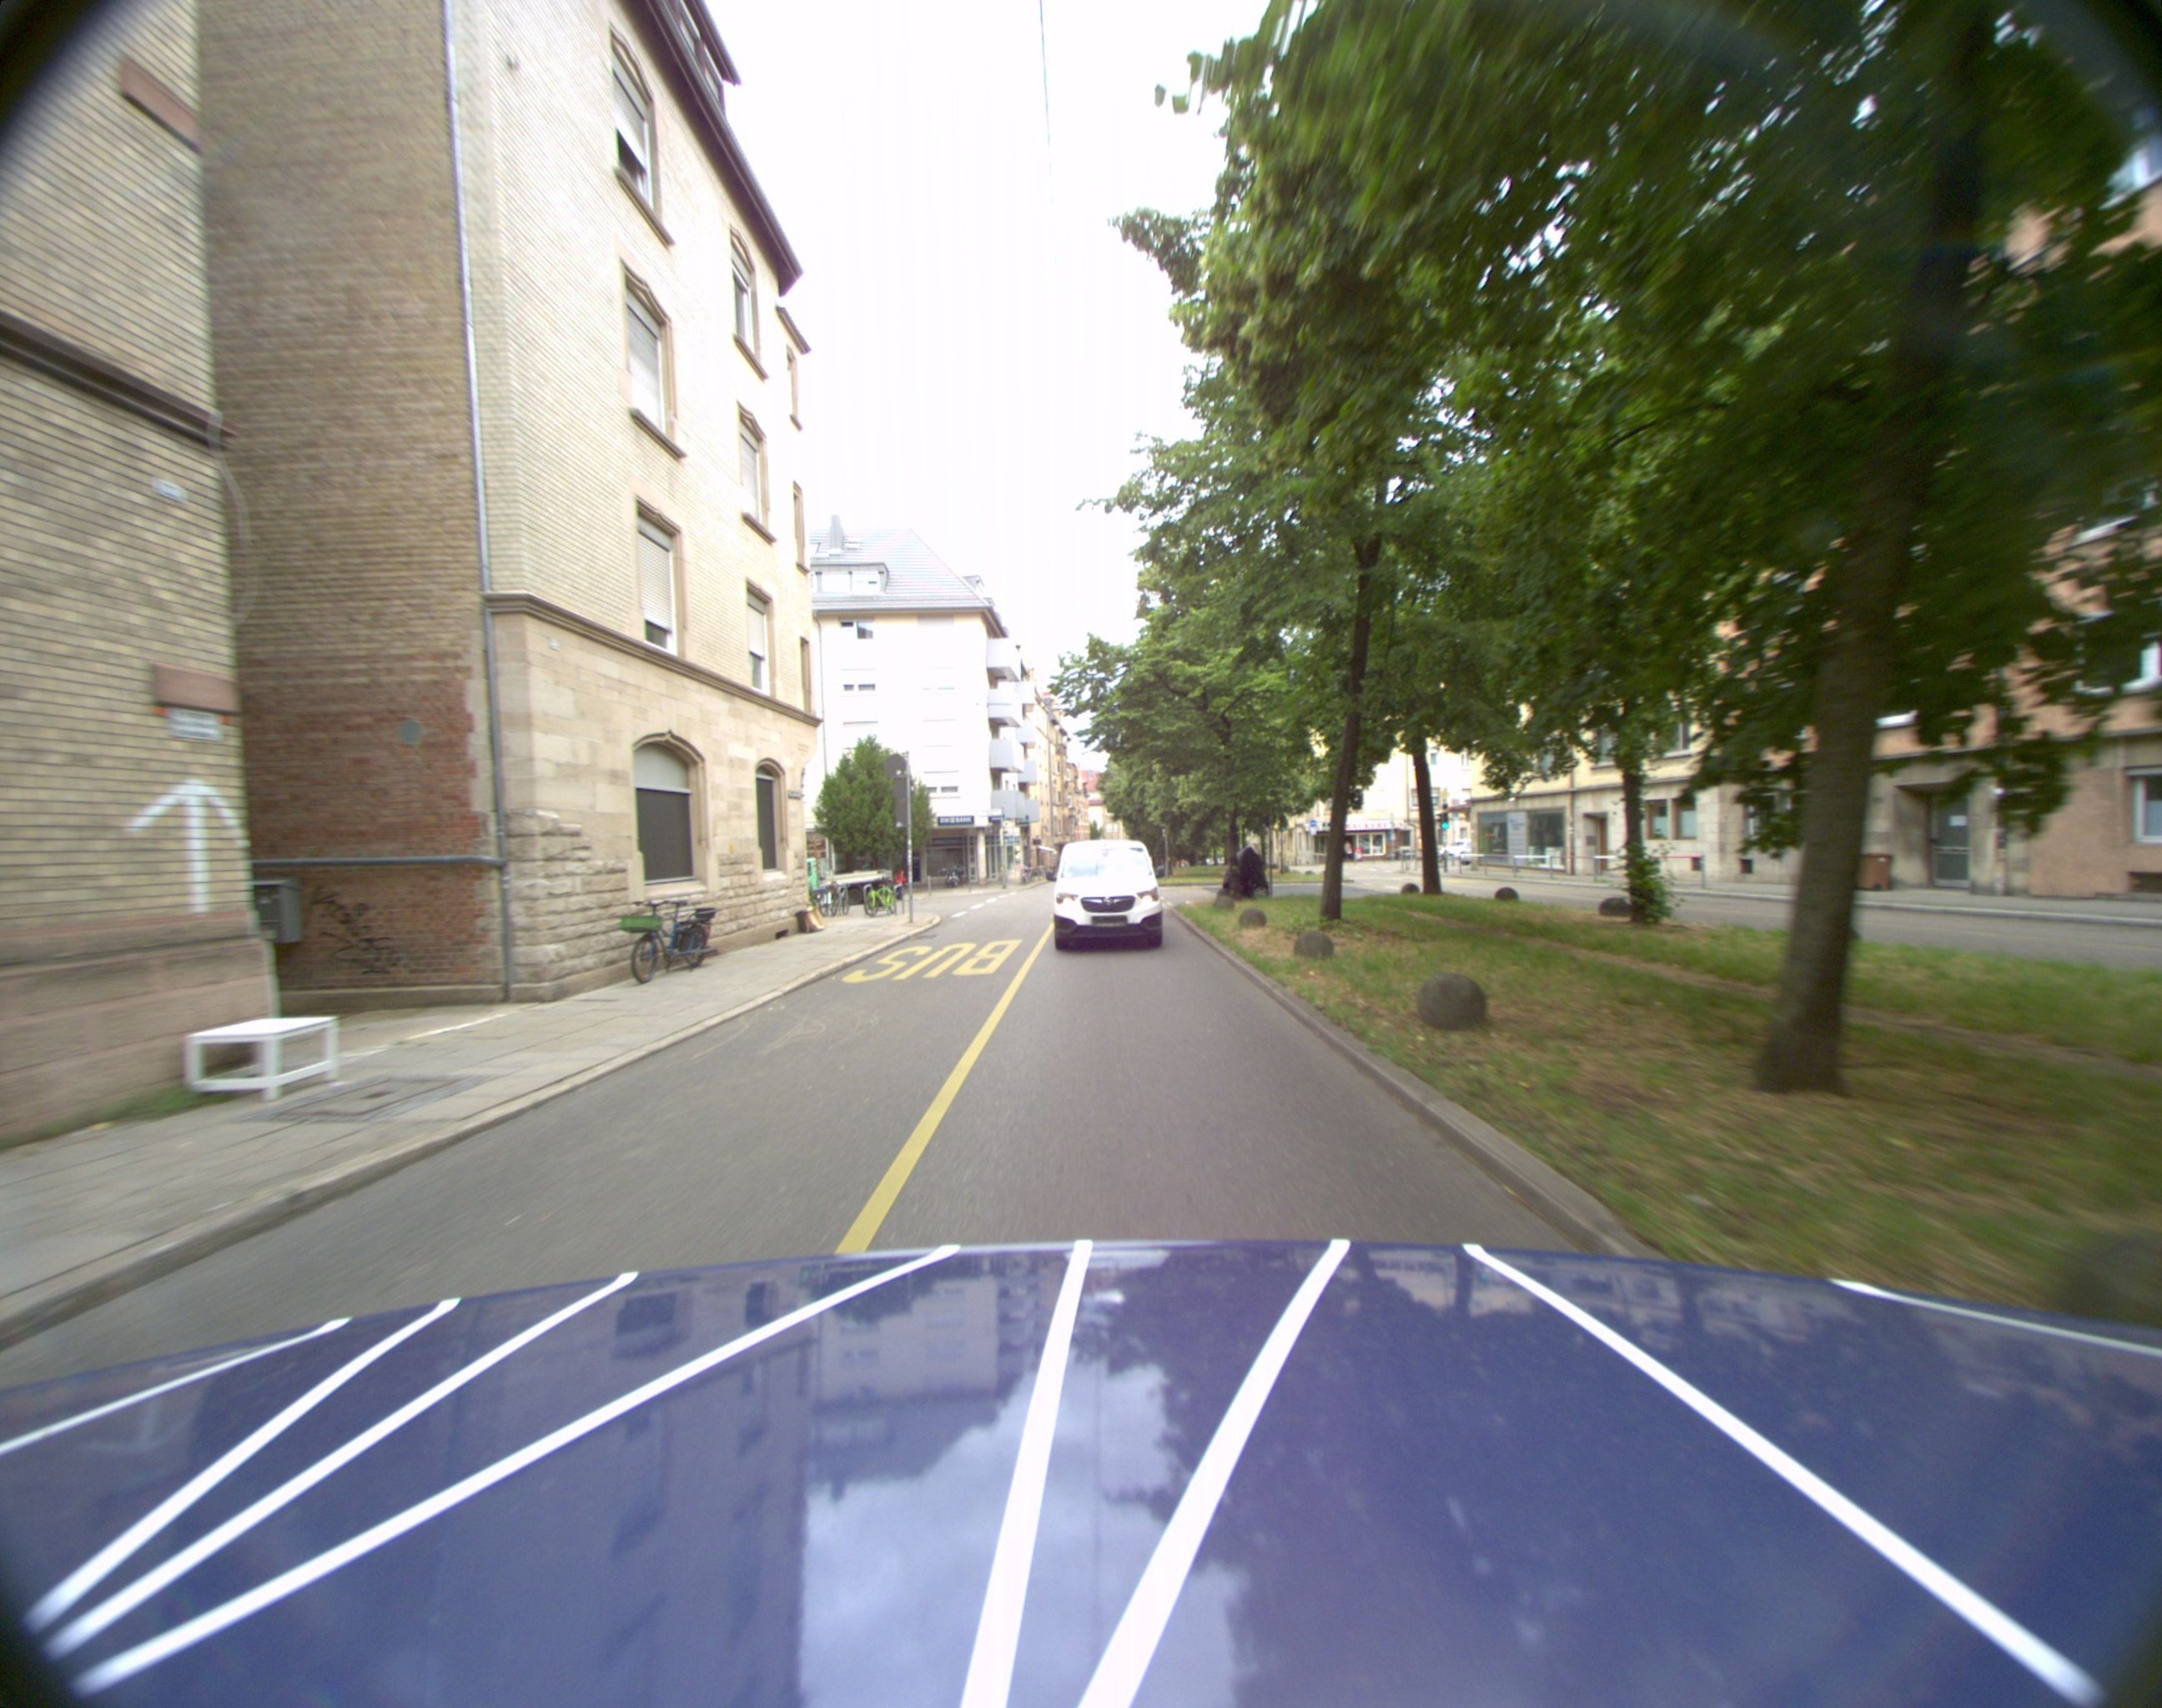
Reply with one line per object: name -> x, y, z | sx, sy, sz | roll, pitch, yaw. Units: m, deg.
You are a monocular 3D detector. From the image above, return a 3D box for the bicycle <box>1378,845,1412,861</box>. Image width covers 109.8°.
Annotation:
bicycle -> 24.007, -0.110, 58.169 | 2.345, 1.094, 0.775 | -3, 1, 21

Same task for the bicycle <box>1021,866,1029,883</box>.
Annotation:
bicycle -> -3.214, 1.185, 43.848 | 0.154, 0.902, 1.285 | -3, 0, 6

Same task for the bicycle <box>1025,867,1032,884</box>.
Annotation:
bicycle -> -3.011, 1.234, 43.799 | 0.154, 0.902, 1.285 | -3, 0, 6

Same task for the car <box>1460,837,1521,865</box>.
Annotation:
car -> 26.171, -0.190, 48.551 | 3.646, 1.532, 1.686 | -3, -1, -29

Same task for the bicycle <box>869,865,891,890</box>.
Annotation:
bicycle -> -10.457, 1.210, 39.499 | 0.439, 1.248, 1.884 | -3, 0, 5

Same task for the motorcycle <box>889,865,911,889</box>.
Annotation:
motorcycle -> -9.408, 1.187, 39.592 | 0.591, 1.190, 1.931 | 0, 0, 3

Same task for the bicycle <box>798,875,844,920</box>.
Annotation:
bicycle -> -8.235, 1.343, 24.145 | 0.459, 1.269, 2.386 | -3, 0, 3

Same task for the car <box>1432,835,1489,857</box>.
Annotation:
car -> 29.272, -0.586, 58.595 | 3.812, 1.533, 1.979 | -3, 1, -26

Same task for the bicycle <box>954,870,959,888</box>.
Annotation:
bicycle -> -6.622, 1.329, 40.556 | 0.120, 0.902, 1.284 | -3, 0, -5

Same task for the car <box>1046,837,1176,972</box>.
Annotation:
car -> 0.521, 0.679, 12.778 | 1.745, 1.831, 4.343 | -2, 1, 3

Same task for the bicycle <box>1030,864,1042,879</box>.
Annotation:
bicycle -> -2.760, 1.076, 46.777 | 0.442, 0.902, 1.285 | -3, 0, 6

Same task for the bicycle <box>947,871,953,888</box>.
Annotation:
bicycle -> -7.208, 1.378, 41.789 | 0.184, 0.902, 1.236 | -3, 0, -5

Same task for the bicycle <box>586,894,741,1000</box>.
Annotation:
bicycle -> -5.791, 1.237, 10.772 | 0.683, 1.143, 2.483 | -2, 1, 2

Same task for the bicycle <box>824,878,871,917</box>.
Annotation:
bicycle -> -7.378, 1.355, 24.110 | 0.683, 1.142, 2.059 | -4, -1, 2

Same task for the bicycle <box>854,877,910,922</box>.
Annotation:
bicycle -> -5.639, 1.266, 21.761 | 0.683, 1.142, 2.941 | -2, -1, 2

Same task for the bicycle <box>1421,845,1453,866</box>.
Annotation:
bicycle -> 21.656, 0.117, 46.251 | 0.684, 1.142, 2.057 | -4, -1, -10

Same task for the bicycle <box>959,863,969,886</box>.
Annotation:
bicycle -> -6.450, 1.126, 41.879 | 0.400, 1.197, 1.284 | -4, 0, -5

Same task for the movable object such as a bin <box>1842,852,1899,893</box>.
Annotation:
movable object such as a bin -> 18.687, 0.424, 17.999 | 0.513, 0.921, 0.779 | -3, 0, 2

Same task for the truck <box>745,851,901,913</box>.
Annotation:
truck -> -11.080, 1.193, 33.087 | 5.858, 2.094, 2.553 | -5, -1, -5

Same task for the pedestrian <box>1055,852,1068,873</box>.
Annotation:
pedestrian -> -1.889, 0.823, 73.921 | 1.083, 2.002, 1.204 | -3, 0, 3

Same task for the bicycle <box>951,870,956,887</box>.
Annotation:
bicycle -> -6.893, 1.311, 40.958 | 0.141, 0.902, 1.249 | -2, 1, -5

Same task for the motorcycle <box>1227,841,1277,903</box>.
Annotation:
motorcycle -> 4.444, 0.493, 19.950 | 0.825, 1.521, 2.625 | 0, -2, 3
